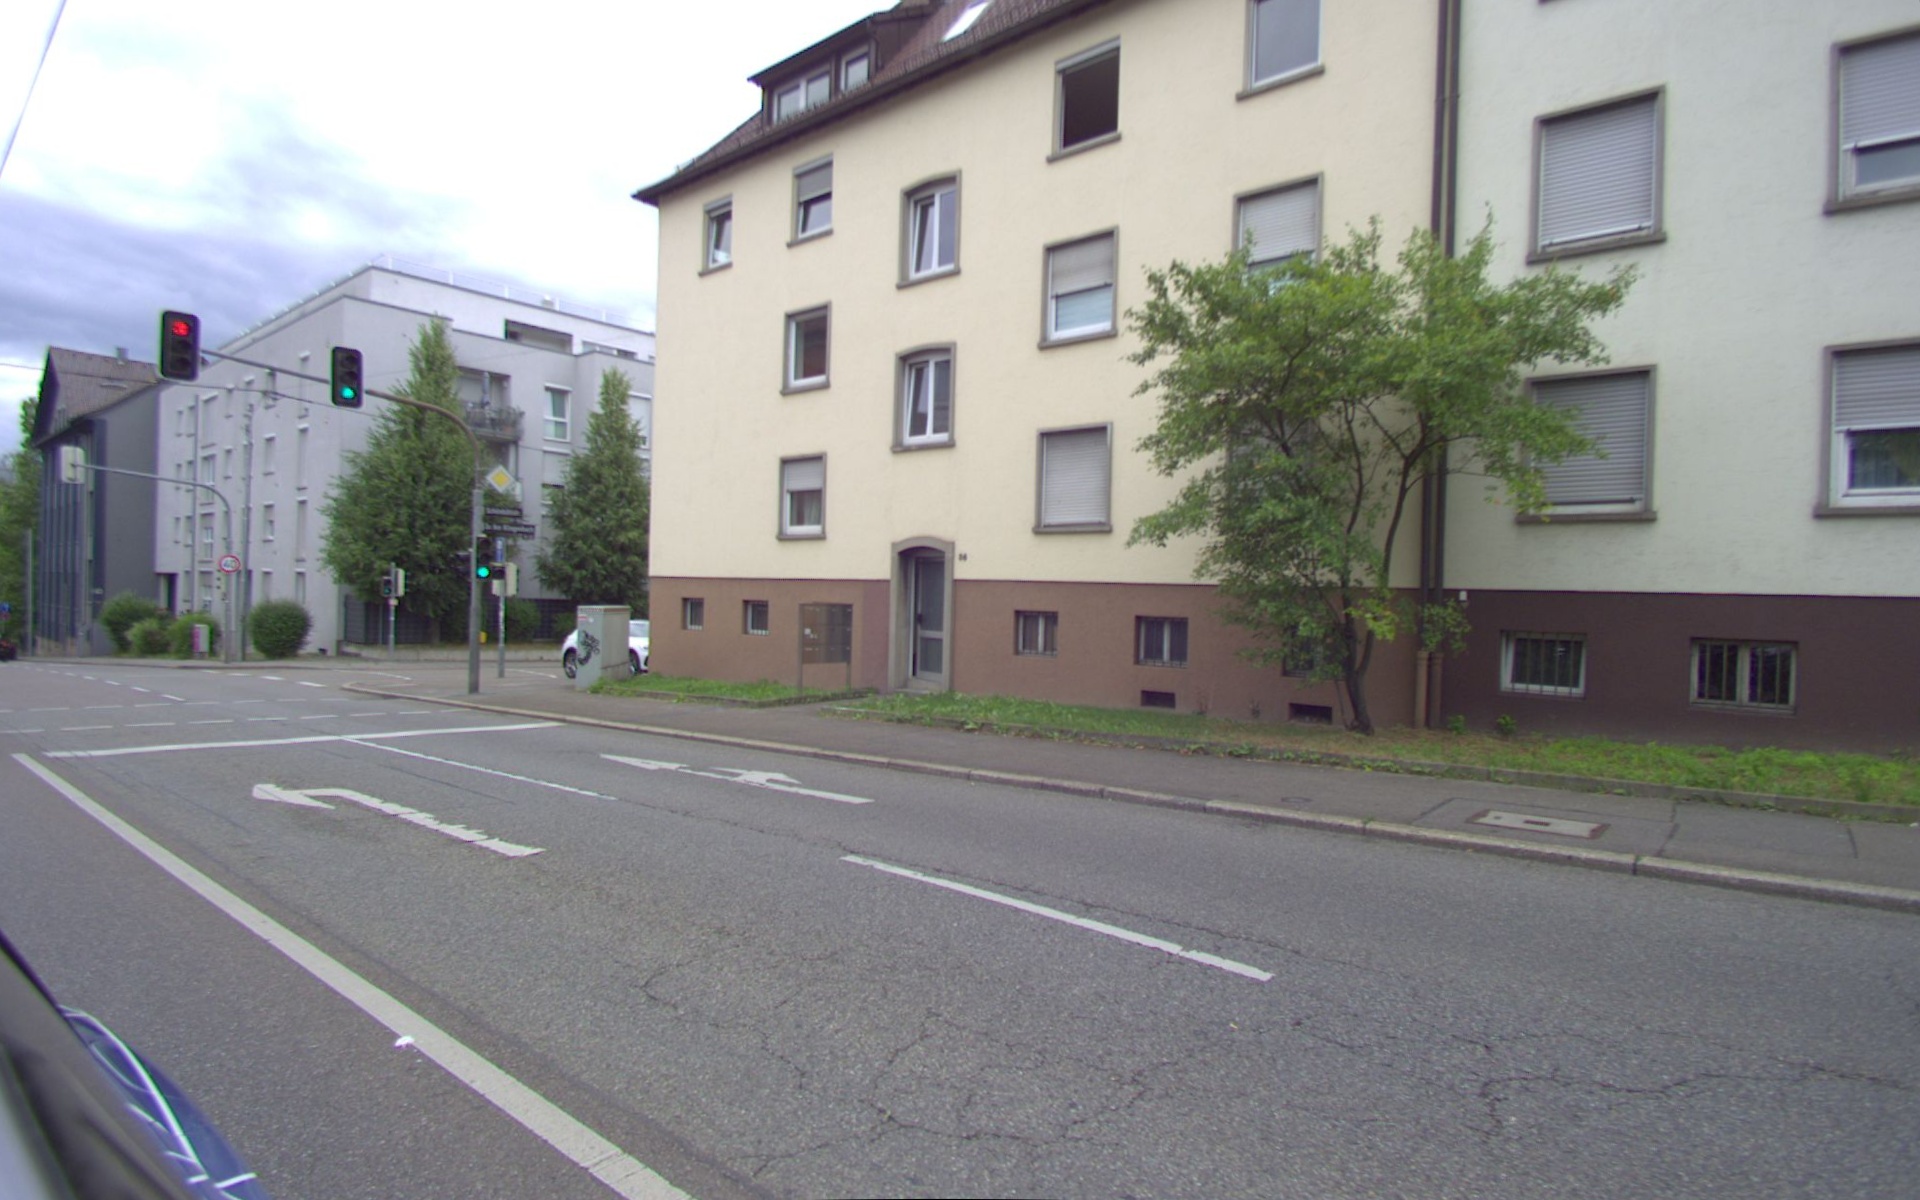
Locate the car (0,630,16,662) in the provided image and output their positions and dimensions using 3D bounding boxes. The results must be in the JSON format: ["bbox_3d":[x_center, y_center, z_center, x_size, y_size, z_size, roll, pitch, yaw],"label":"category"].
[{"bbox_3d":[-46.059,2.150,47.966,3.614,1.475,1.570,-2,-3,42],"label":"car"}]

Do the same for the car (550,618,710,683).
[{"bbox_3d":[-8.563,1.325,26.117,4.253,1.549,1.797,-3,-5,37],"label":"car"}]
